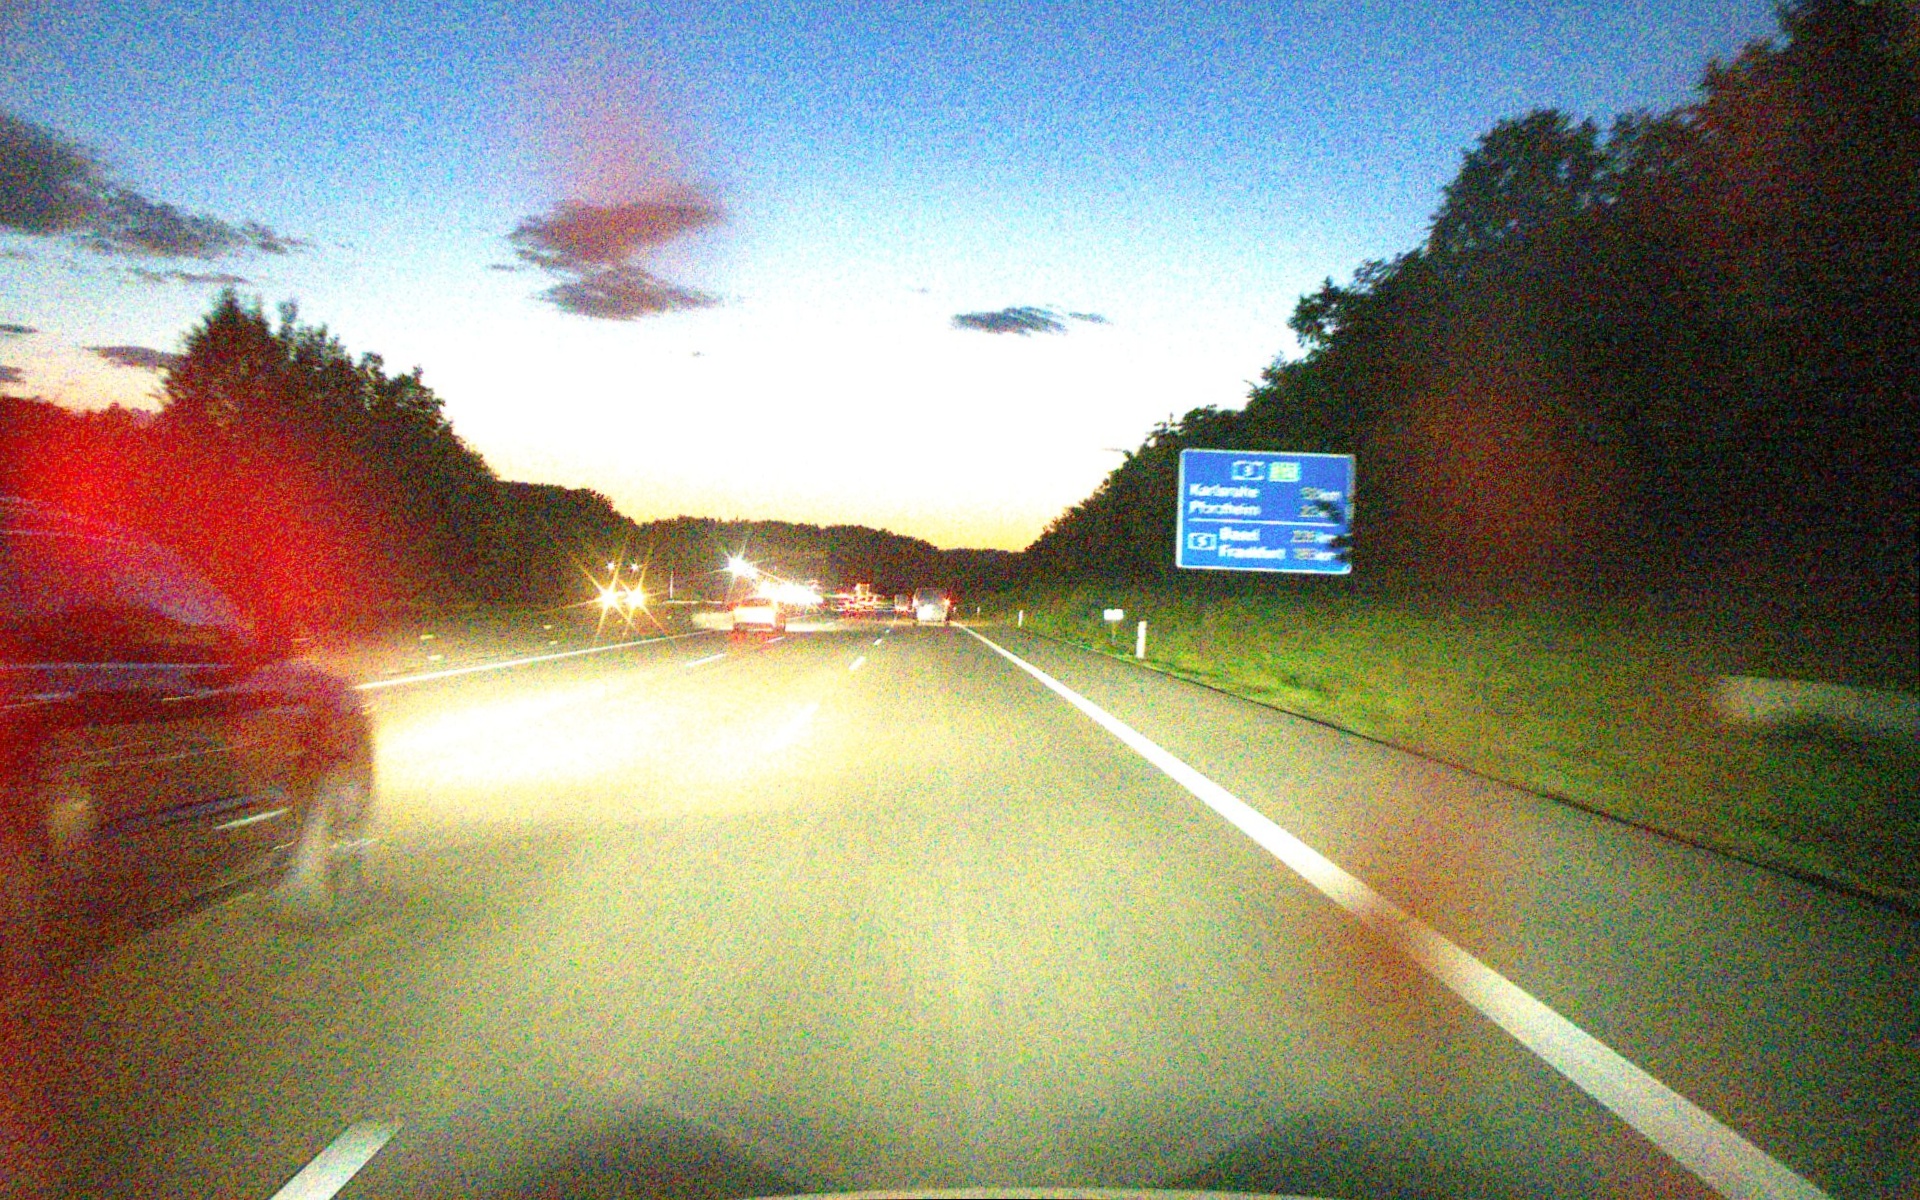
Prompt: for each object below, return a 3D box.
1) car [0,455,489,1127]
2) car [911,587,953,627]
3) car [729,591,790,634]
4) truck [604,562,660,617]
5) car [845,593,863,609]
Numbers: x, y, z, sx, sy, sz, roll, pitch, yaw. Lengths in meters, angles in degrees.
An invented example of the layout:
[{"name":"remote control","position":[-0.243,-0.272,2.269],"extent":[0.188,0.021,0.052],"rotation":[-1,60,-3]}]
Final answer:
[{"name":"car","position":[-3.494,0.511,5.940],"extent":[1.953,1.751,5.941],"rotation":[0,0,-1]},{"name":"car","position":[-1.499,0.339,86.772],"extent":[2.152,1.989,4.762],"rotation":[0,1,-2]},{"name":"car","position":[-7.887,0.458,65.577],"extent":[1.744,1.512,5.253],"rotation":[4,1,-1]},{"name":"truck","position":[-24.724,-0.755,125.236],"extent":[2.468,3.919,9.063],"rotation":[1,0,-1]},{"name":"car","position":[-14.597,0.171,228.771],"extent":[2.152,1.989,4.633],"rotation":[4,1,-1]}]
